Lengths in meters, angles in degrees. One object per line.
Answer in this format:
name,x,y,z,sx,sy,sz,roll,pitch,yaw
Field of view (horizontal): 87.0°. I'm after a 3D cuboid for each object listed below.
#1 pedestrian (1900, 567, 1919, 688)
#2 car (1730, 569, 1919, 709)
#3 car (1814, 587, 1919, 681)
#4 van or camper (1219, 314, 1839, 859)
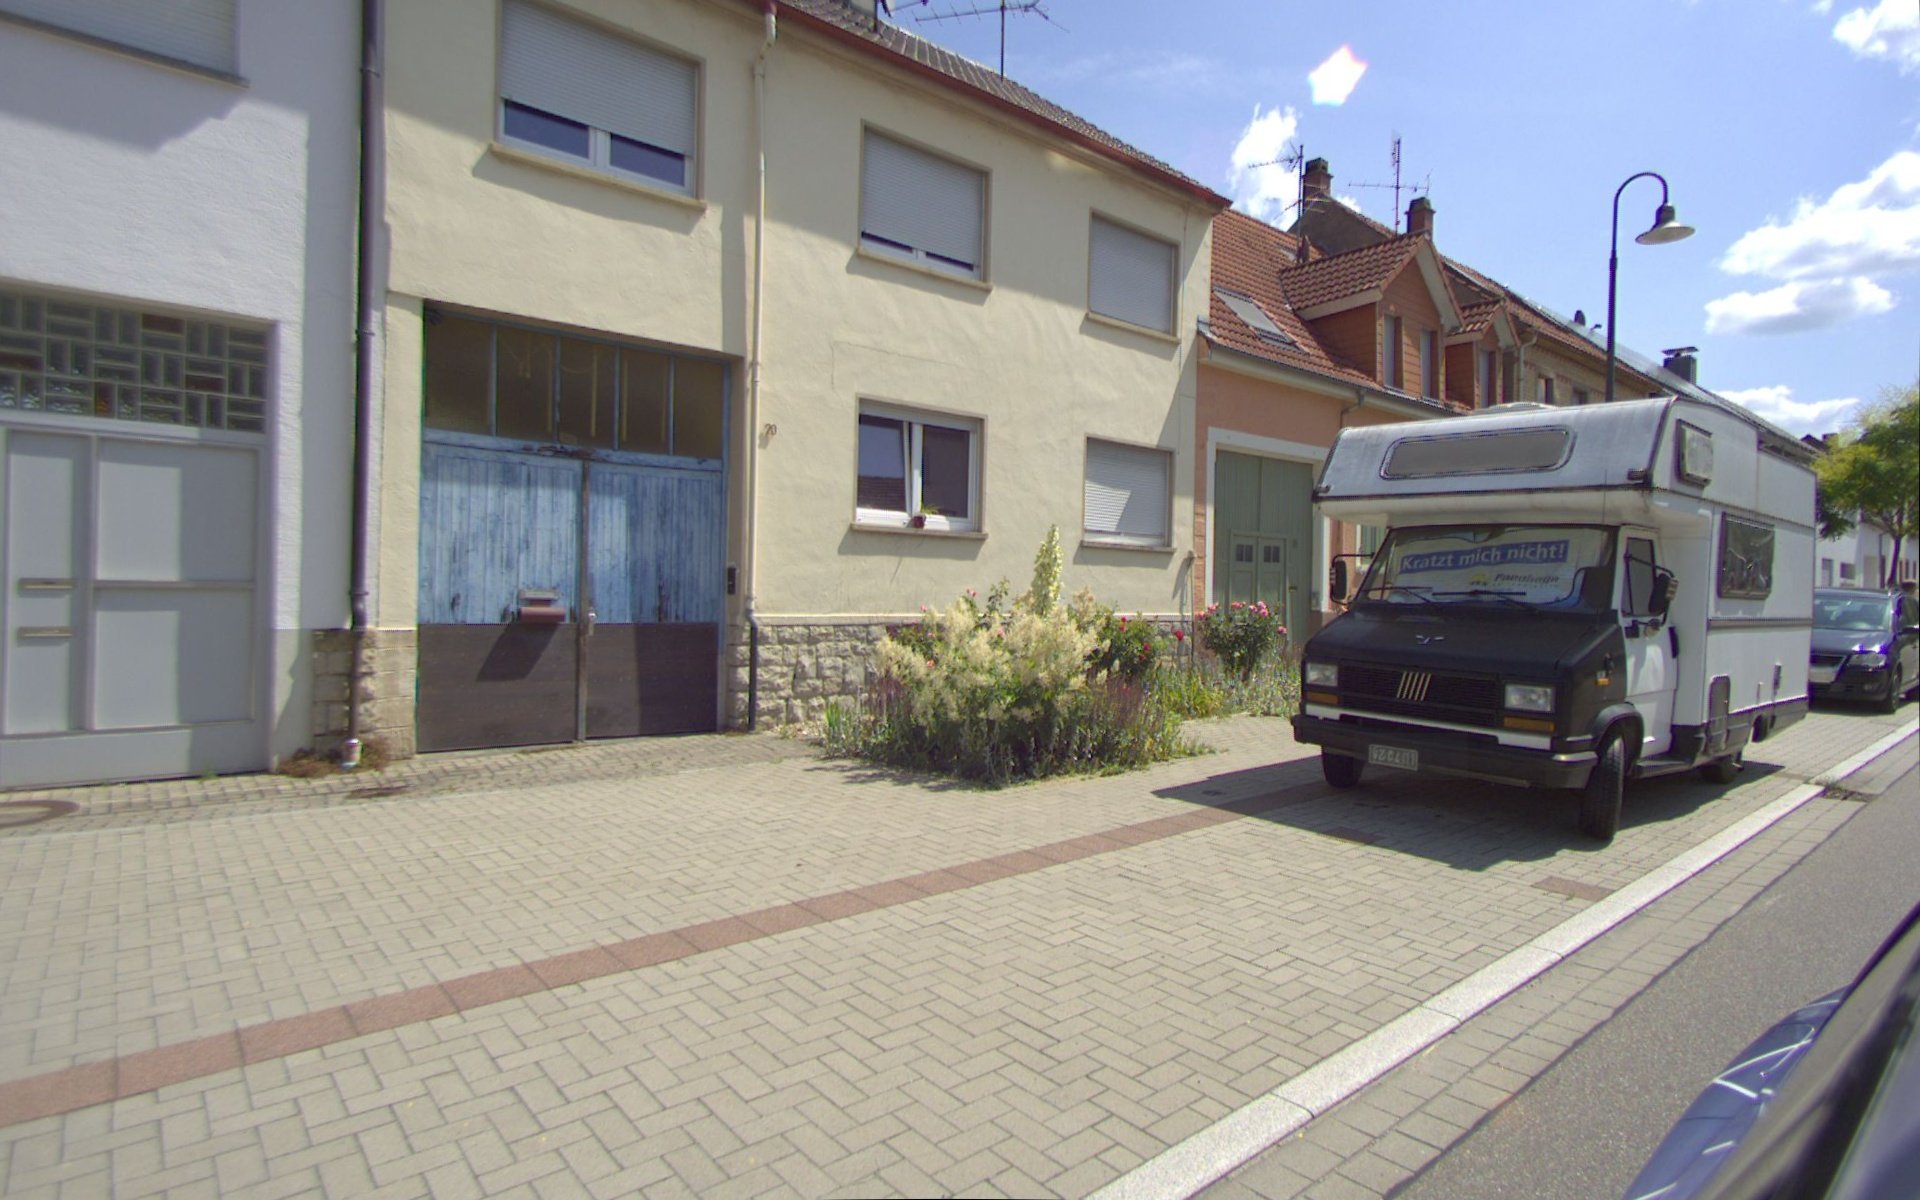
pedestrian,15.206,0.425,15.791,0.568,1.876,0.718,0,0,-40
car,12.730,0.453,14.557,4.248,1.726,1.770,0,1,-40
car,16.647,0.531,17.932,4.223,1.507,1.769,0,1,-42
van or camper,4.826,-0.107,8.094,5.688,2.845,2.478,0,2,-41
